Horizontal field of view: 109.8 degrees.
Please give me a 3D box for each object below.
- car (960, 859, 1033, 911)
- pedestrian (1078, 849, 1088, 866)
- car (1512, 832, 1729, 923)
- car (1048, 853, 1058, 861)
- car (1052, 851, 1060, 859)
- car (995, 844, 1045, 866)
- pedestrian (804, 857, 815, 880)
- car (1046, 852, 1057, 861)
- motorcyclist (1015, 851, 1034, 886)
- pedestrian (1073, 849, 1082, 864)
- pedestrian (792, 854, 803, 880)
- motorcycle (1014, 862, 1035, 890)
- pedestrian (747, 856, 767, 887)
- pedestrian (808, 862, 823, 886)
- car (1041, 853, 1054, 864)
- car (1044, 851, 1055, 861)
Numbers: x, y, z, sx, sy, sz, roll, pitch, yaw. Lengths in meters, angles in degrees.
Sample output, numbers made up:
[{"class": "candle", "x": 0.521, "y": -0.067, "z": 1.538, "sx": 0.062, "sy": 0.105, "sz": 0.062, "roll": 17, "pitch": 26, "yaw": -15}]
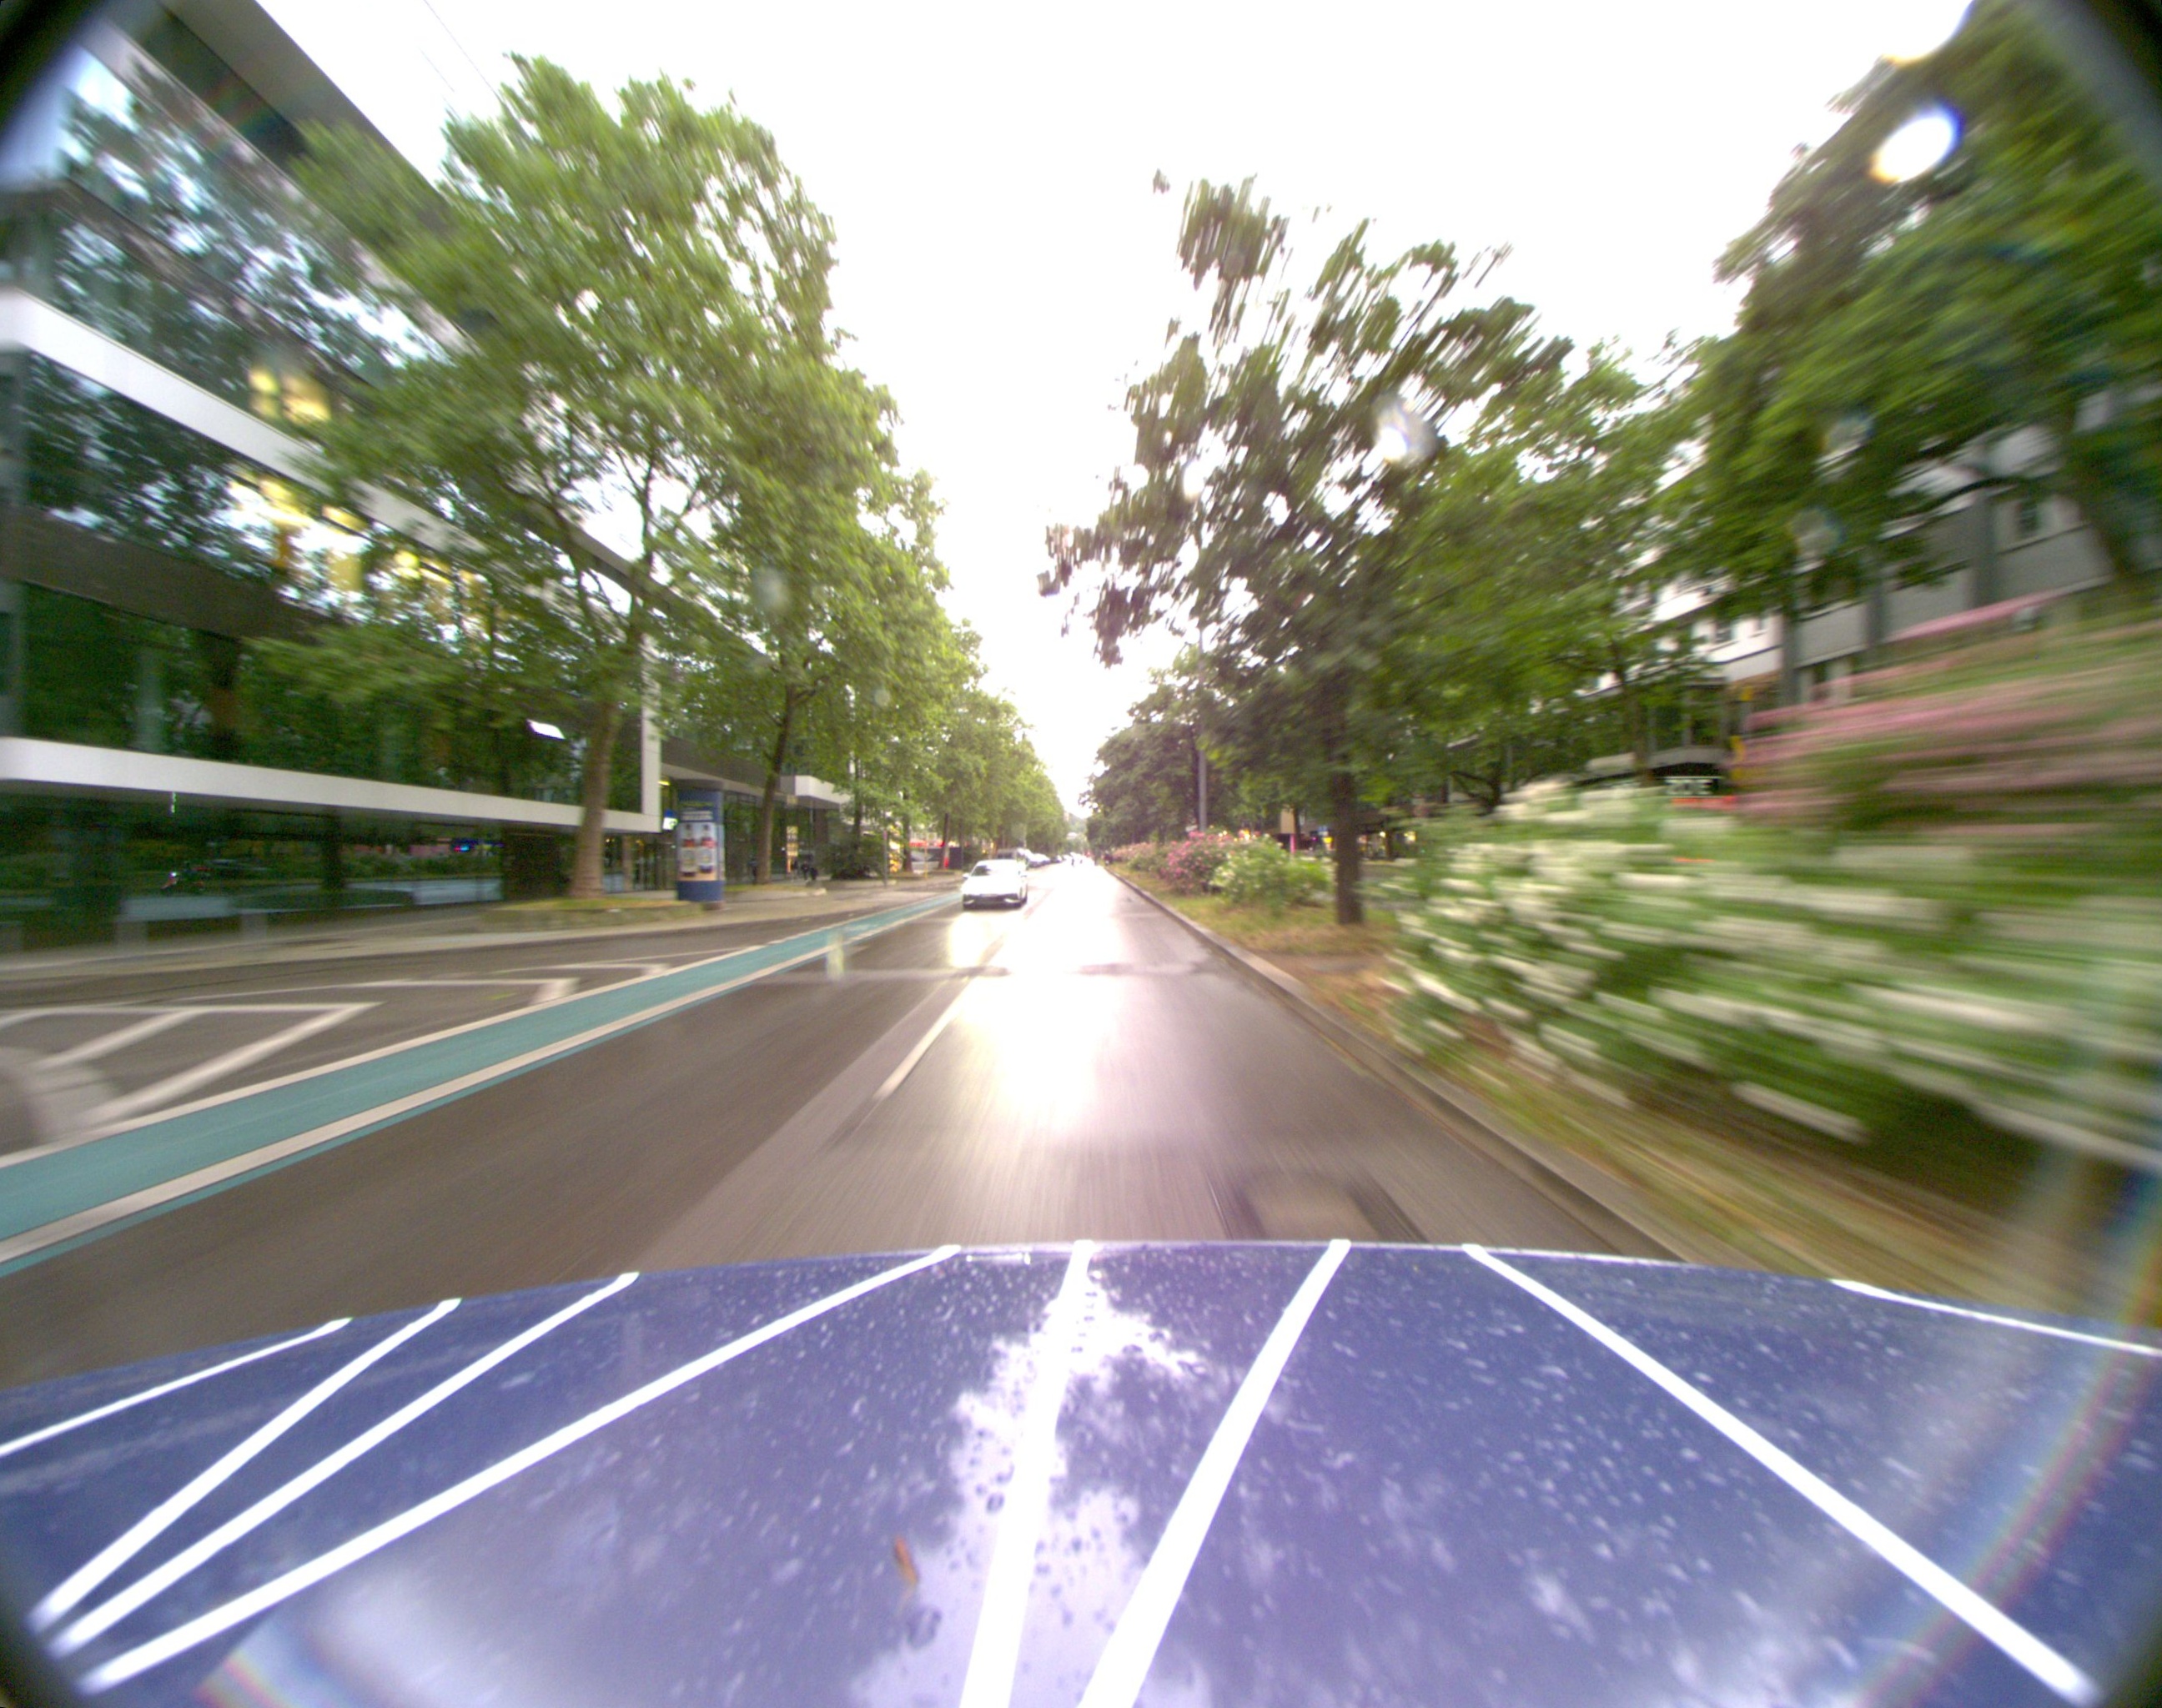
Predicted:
[{"class": "car", "x": -2.625, "y": 0.929, "z": 24.377, "sx": 1.795, "sy": 1.463, "sz": 3.793, "roll": -2, "pitch": 0, "yaw": 1}, {"class": "pedestrian", "x": 0.227, "y": 0.375, "z": 85.723, "sx": 0.891, "sy": 1.839, "sz": 0.721, "roll": -2, "pitch": 1, "yaw": 7}, {"class": "car", "x": 10.997, "y": 0.420, "z": 15.901, "sx": 1.726, "sy": 1.628, "sz": 4.014, "roll": -2, "pitch": 0, "yaw": 1}, {"class": "car", "x": -5.056, "y": 0.520, "z": 138.661, "sx": 1.598, "sy": 1.516, "sz": 3.425, "roll": -1, "pitch": 0, "yaw": 0}, {"class": "car", "x": -5.329, "y": 0.236, "z": 163.378, "sx": 1.598, "sy": 1.516, "sz": 3.425, "roll": -1, "pitch": 0, "yaw": 0}, {"class": "car", "x": -7.873, "y": 0.141, "z": 97.801, "sx": 6.267, "sy": 2.665, "sz": 2.326, "roll": -1, "pitch": 1, "yaw": 36}, {"class": "pedestrian", "x": -19.719, "y": 1.045, "z": 55.274, "sx": 0.527, "sy": 1.616, "sz": 0.719, "roll": 1, "pitch": 2, "yaw": 0}, {"class": "car", "x": -5.043, "y": 0.457, "z": 130.781, "sx": 1.598, "sy": 1.516, "sz": 3.425, "roll": -1, "pitch": 0, "yaw": 0}, {"class": "motorcyclist", "x": -2.666, "y": 0.674, "z": 35.876, "sx": 0.744, "sy": 1.575, "sz": 1.059, "roll": -2, "pitch": 1, "yaw": 0}, {"class": "pedestrian", "x": -0.450, "y": 0.310, "z": 91.453, "sx": 0.892, "sy": 1.839, "sz": 0.787, "roll": -2, "pitch": 1, "yaw": -10}, {"class": "pedestrian", "x": -20.583, "y": 0.922, "z": 55.198, "sx": 0.524, "sy": 1.848, "sz": 0.704, "roll": 1, "pitch": 2, "yaw": 0}, {"class": "motorcycle", "x": -2.664, "y": 1.034, "z": 35.954, "sx": 0.744, "sy": 1.194, "sz": 2.235, "roll": -2, "pitch": 1, "yaw": 1}, {"class": "pedestrian", "x": -19.169, "y": 1.010, "z": 44.971, "sx": 0.790, "sy": 1.783, "sz": 1.086, "roll": 1, "pitch": 0, "yaw": -10}, {"class": "pedestrian", "x": -16.660, "y": 1.230, "z": 47.734, "sx": 0.588, "sy": 1.496, "sz": 1.005, "roll": 0, "pitch": 0, "yaw": 1}, {"class": "car", "x": -4.793, "y": 0.653, "z": 107.737, "sx": 1.598, "sy": 1.516, "sz": 3.425, "roll": -1, "pitch": 0, "yaw": 1}, {"class": "car", "x": -5.066, "y": 0.358, "z": 121.712, "sx": 1.598, "sy": 1.516, "sz": 3.425, "roll": -1, "pitch": 0, "yaw": 0}]
